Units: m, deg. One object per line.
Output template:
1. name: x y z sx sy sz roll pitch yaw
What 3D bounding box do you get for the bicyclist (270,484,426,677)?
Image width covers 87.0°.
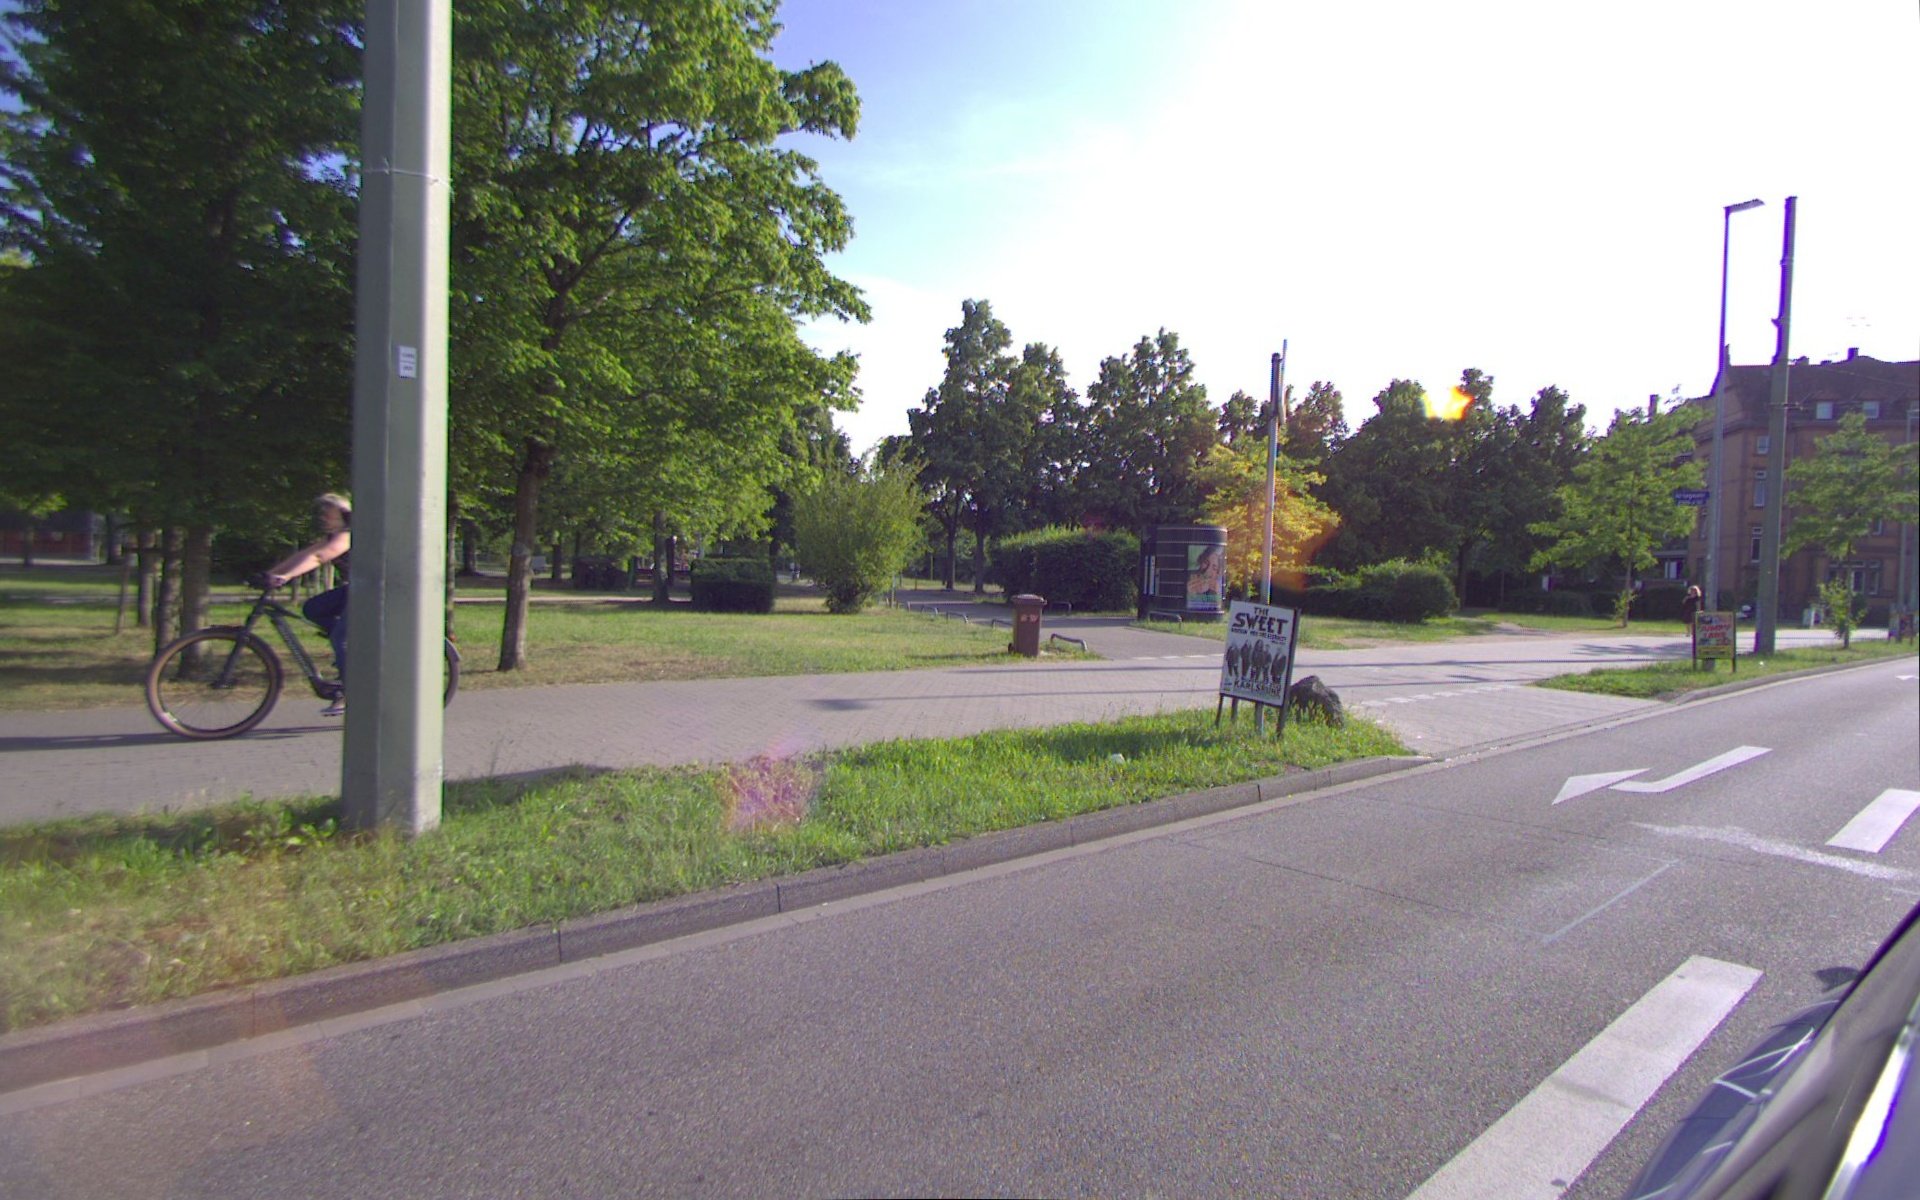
1. bicyclist: -4.328 -0.140 7.166 0.853 1.278 0.535 1 2 -41

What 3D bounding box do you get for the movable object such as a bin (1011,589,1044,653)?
1. movable object such as a bin: 1.023 0.315 15.387 0.447 0.929 0.605 2 2 1

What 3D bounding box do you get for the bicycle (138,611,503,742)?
1. bicycle: -4.427 0.486 7.148 2.130 0.766 0.496 0 3 -41

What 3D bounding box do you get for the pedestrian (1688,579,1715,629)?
1. pedestrian: 25.628 0.124 34.981 0.607 1.706 0.621 1 0 -40
